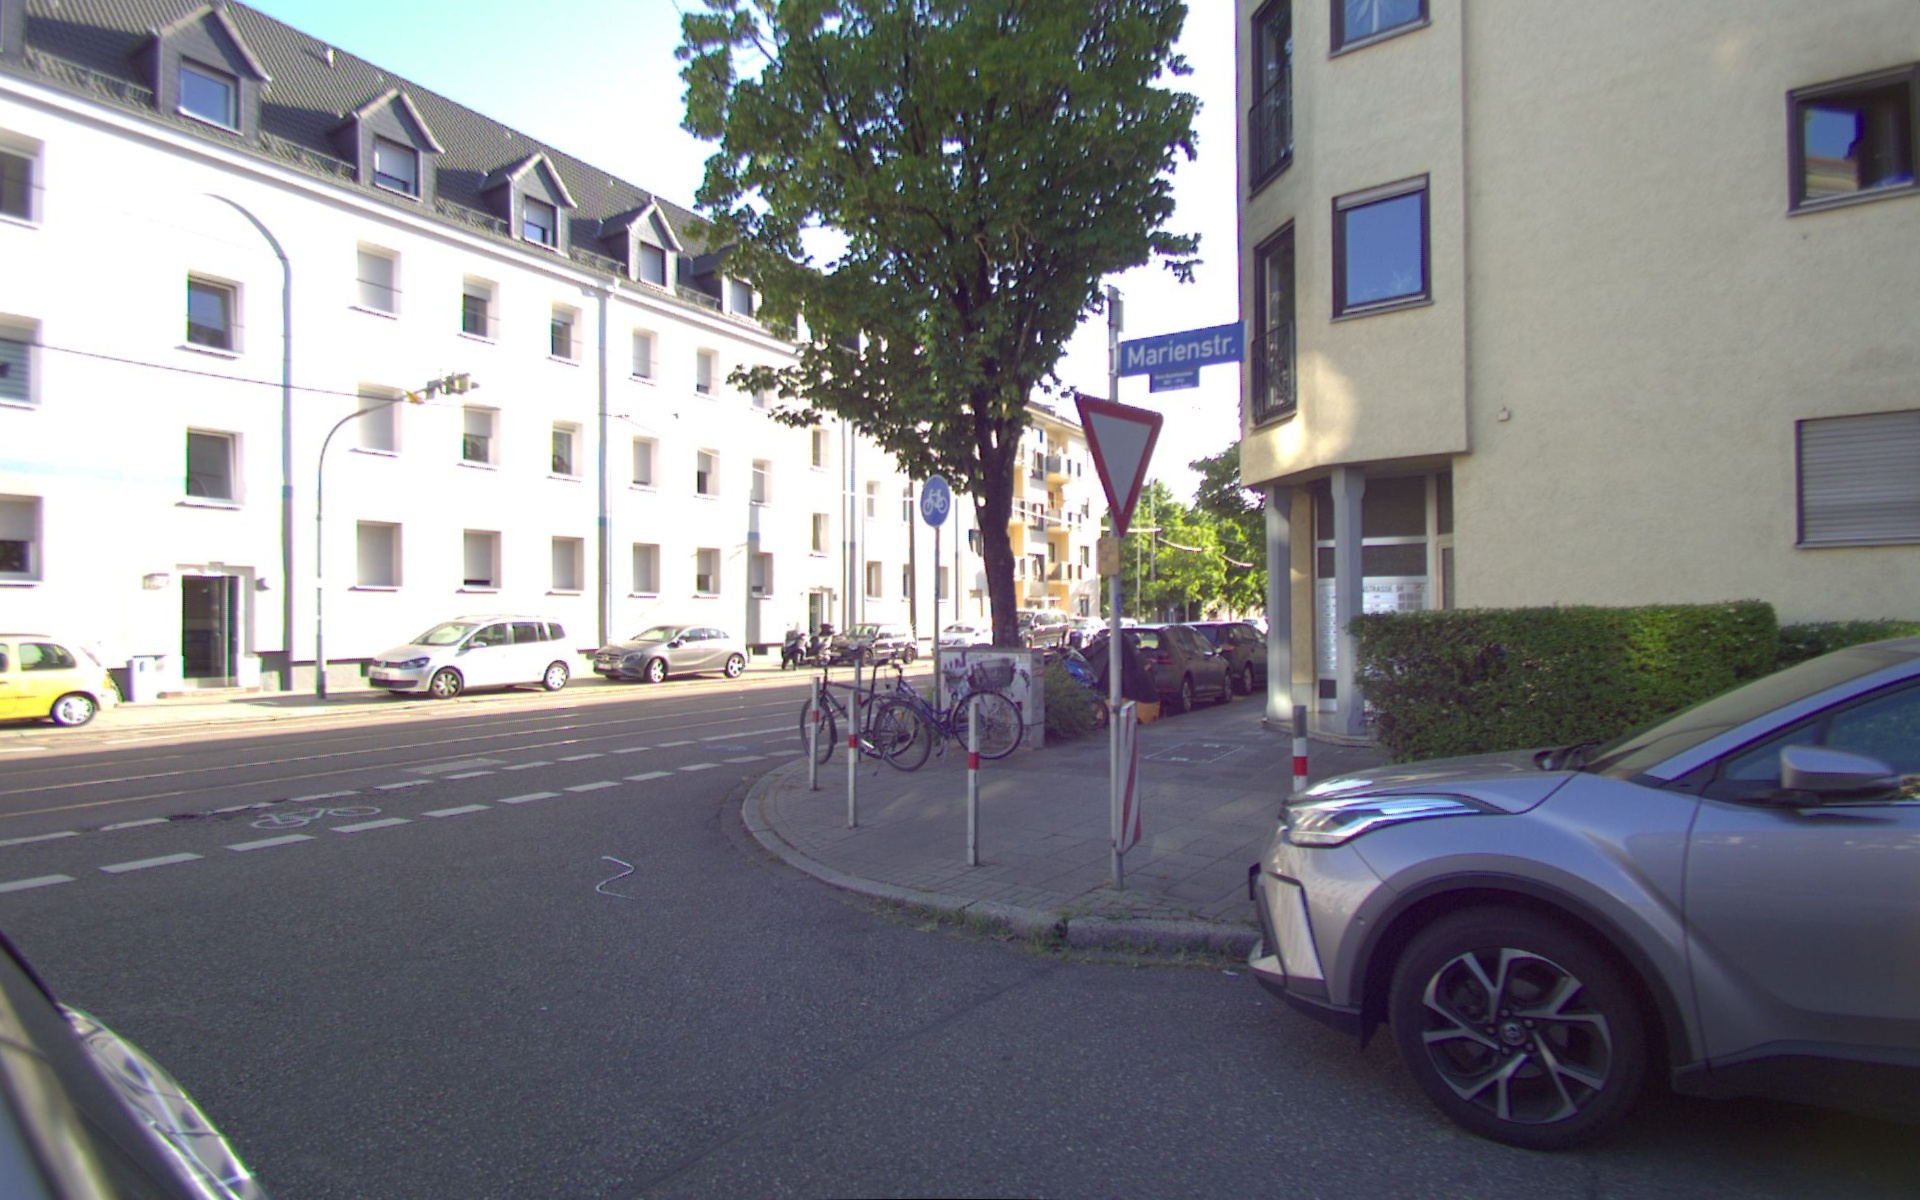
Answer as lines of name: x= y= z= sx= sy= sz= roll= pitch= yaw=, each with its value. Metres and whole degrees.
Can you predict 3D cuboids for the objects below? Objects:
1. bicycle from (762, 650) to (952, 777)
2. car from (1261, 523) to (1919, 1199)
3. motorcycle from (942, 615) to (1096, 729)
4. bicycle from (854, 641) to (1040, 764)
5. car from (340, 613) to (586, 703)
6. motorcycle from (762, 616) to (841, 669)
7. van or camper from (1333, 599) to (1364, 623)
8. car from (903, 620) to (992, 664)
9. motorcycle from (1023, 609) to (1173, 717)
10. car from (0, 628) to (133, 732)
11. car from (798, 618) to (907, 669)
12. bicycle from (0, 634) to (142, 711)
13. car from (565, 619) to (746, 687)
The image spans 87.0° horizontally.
bicycle: x=-1.018 y=1.049 z=9.768 sx=1.877 sy=1.093 sz=0.588 roll=-1 pitch=-2 yaw=33
car: x=3.152 y=0.685 z=2.997 sx=3.988 sy=1.672 sz=1.888 roll=-1 pitch=-3 yaw=33
motorcycle: x=0.793 y=0.952 z=13.724 sx=1.963 sy=1.458 sz=0.714 roll=-1 pitch=-2 yaw=25
bicycle: x=-0.154 y=0.957 z=9.910 sx=1.806 sy=1.093 sz=0.588 roll=-1 pitch=-2 yaw=33
car: x=-10.425 y=1.136 z=21.631 sx=1.752 sy=1.678 sz=4.582 roll=0 pitch=-1 yaw=28
motorcycle: x=-4.765 y=1.256 z=30.713 sx=0.805 sy=1.533 sz=2.679 roll=1 pitch=-1 yaw=32
van or camper: x=43.045 y=1.217 z=112.083 sx=2.086 sy=2.583 sz=5.630 roll=-2 pitch=-1 yaw=32
car: x=-0.430 y=1.596 z=39.653 sx=1.799 sy=1.583 sz=3.864 roll=0 pitch=-1 yaw=30
motorcycle: x=1.963 y=0.876 z=14.471 sx=1.963 sy=1.458 sz=0.829 roll=-1 pitch=-2 yaw=25
car: x=-14.648 y=1.169 z=14.451 sx=1.513 sy=1.441 sz=4.158 roll=0 pitch=0 yaw=30
car: x=-3.552 y=1.416 z=34.035 sx=1.609 sy=1.583 sz=3.861 roll=0 pitch=-1 yaw=32
bicycle: x=-15.617 y=1.213 z=17.312 sx=1.095 sy=1.206 sz=2.304 roll=-1 pitch=-1 yaw=29
car: x=-7.735 y=1.290 z=26.132 sx=1.864 sy=1.566 sz=4.318 roll=0 pitch=-1 yaw=32
